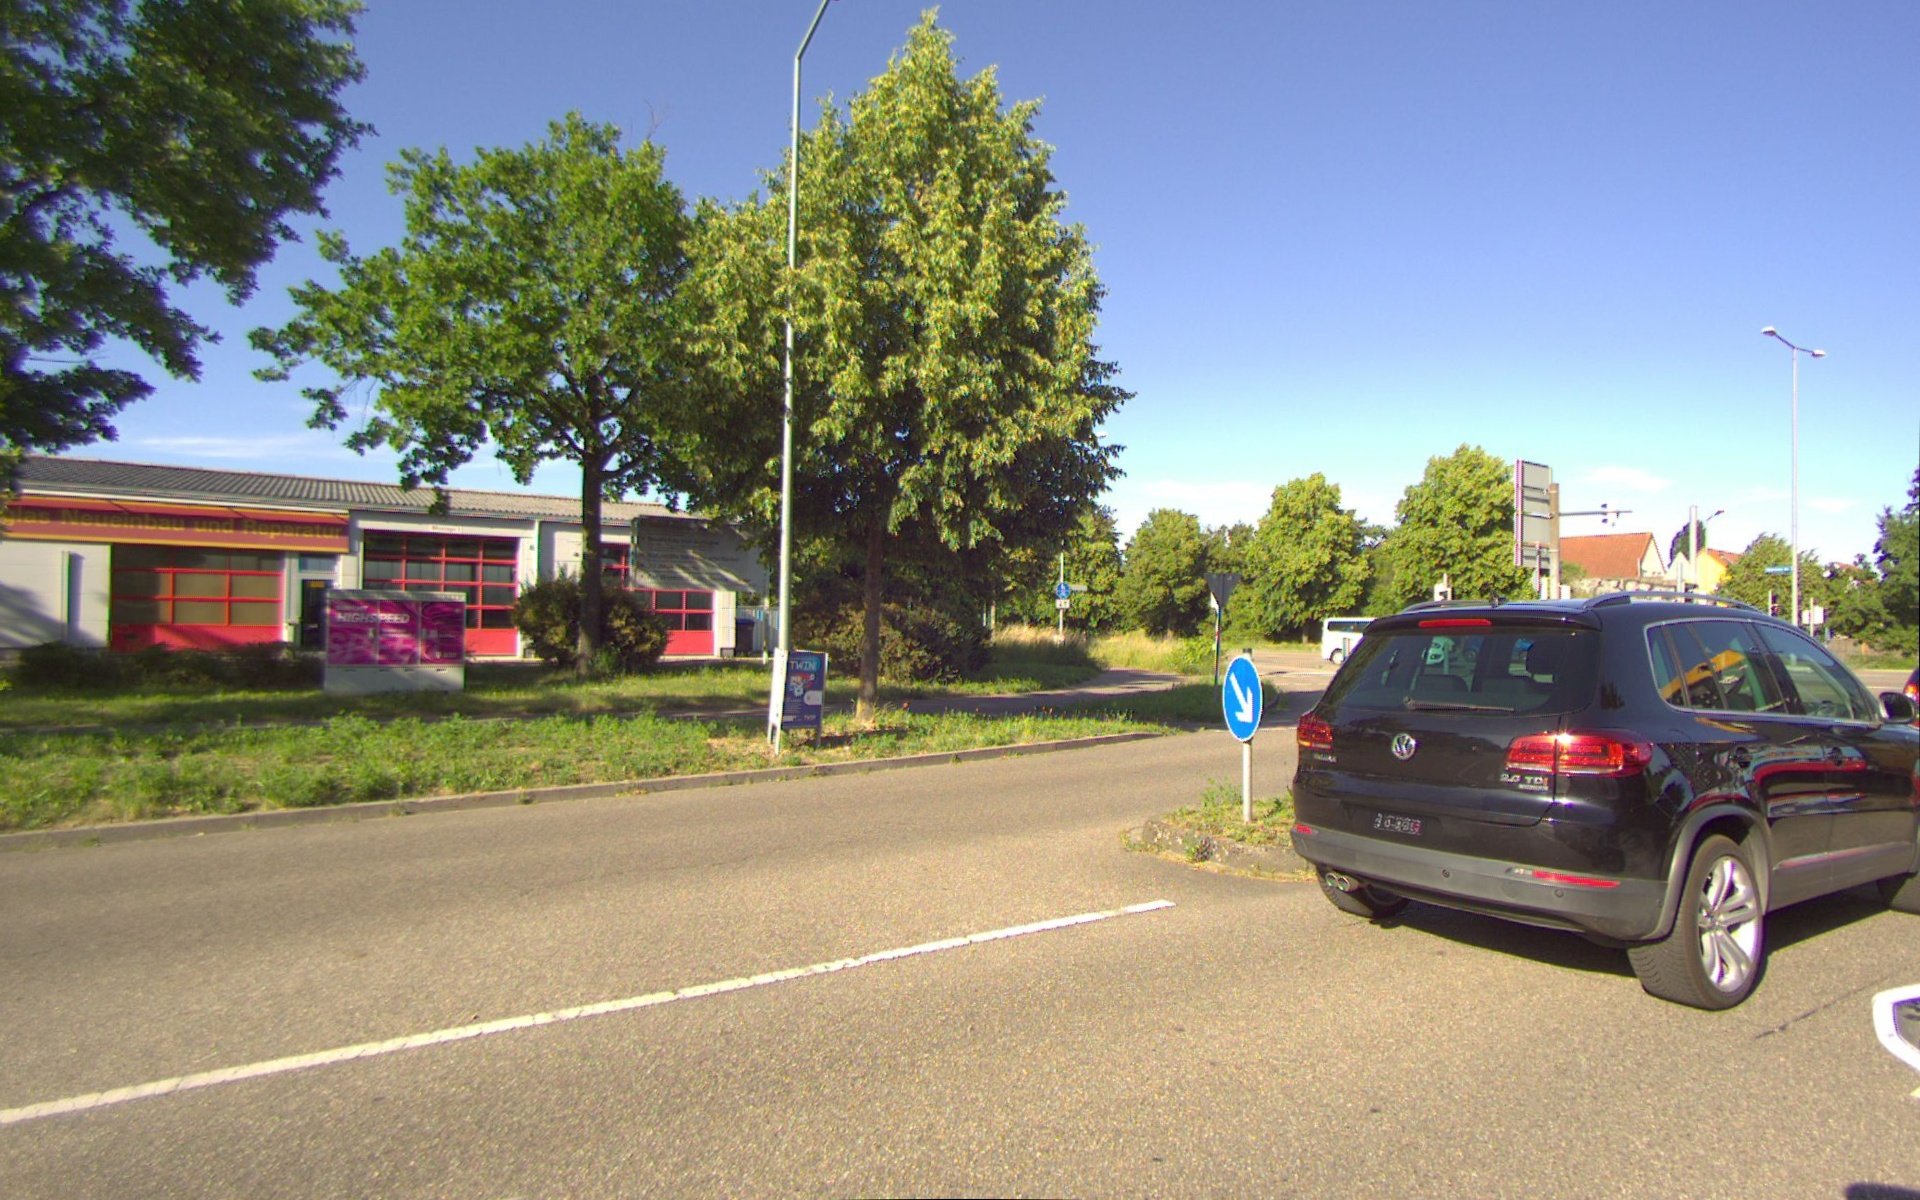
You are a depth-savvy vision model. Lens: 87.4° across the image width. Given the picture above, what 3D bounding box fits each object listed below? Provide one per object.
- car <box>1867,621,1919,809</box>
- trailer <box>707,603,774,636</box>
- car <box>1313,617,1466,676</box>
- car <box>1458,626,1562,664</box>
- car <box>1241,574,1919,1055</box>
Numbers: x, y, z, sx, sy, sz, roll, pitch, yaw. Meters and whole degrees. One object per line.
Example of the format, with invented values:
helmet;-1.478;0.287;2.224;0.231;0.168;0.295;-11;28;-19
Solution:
car;10.234;1.010;9.209;3.954;1.610;1.753;1;-3;-31
trailer;-29.233;2.545;132.777;3.406;4.066;14.563;1;-1;-34
car;17.243;1.805;40.596;2.160;2.146;5.350;2;-1;-35
car;23.760;1.914;43.490;1.733;1.581;3.559;2;-2;-35
car;3.556;0.825;5.308;3.954;1.675;1.763;1;-3;-31
